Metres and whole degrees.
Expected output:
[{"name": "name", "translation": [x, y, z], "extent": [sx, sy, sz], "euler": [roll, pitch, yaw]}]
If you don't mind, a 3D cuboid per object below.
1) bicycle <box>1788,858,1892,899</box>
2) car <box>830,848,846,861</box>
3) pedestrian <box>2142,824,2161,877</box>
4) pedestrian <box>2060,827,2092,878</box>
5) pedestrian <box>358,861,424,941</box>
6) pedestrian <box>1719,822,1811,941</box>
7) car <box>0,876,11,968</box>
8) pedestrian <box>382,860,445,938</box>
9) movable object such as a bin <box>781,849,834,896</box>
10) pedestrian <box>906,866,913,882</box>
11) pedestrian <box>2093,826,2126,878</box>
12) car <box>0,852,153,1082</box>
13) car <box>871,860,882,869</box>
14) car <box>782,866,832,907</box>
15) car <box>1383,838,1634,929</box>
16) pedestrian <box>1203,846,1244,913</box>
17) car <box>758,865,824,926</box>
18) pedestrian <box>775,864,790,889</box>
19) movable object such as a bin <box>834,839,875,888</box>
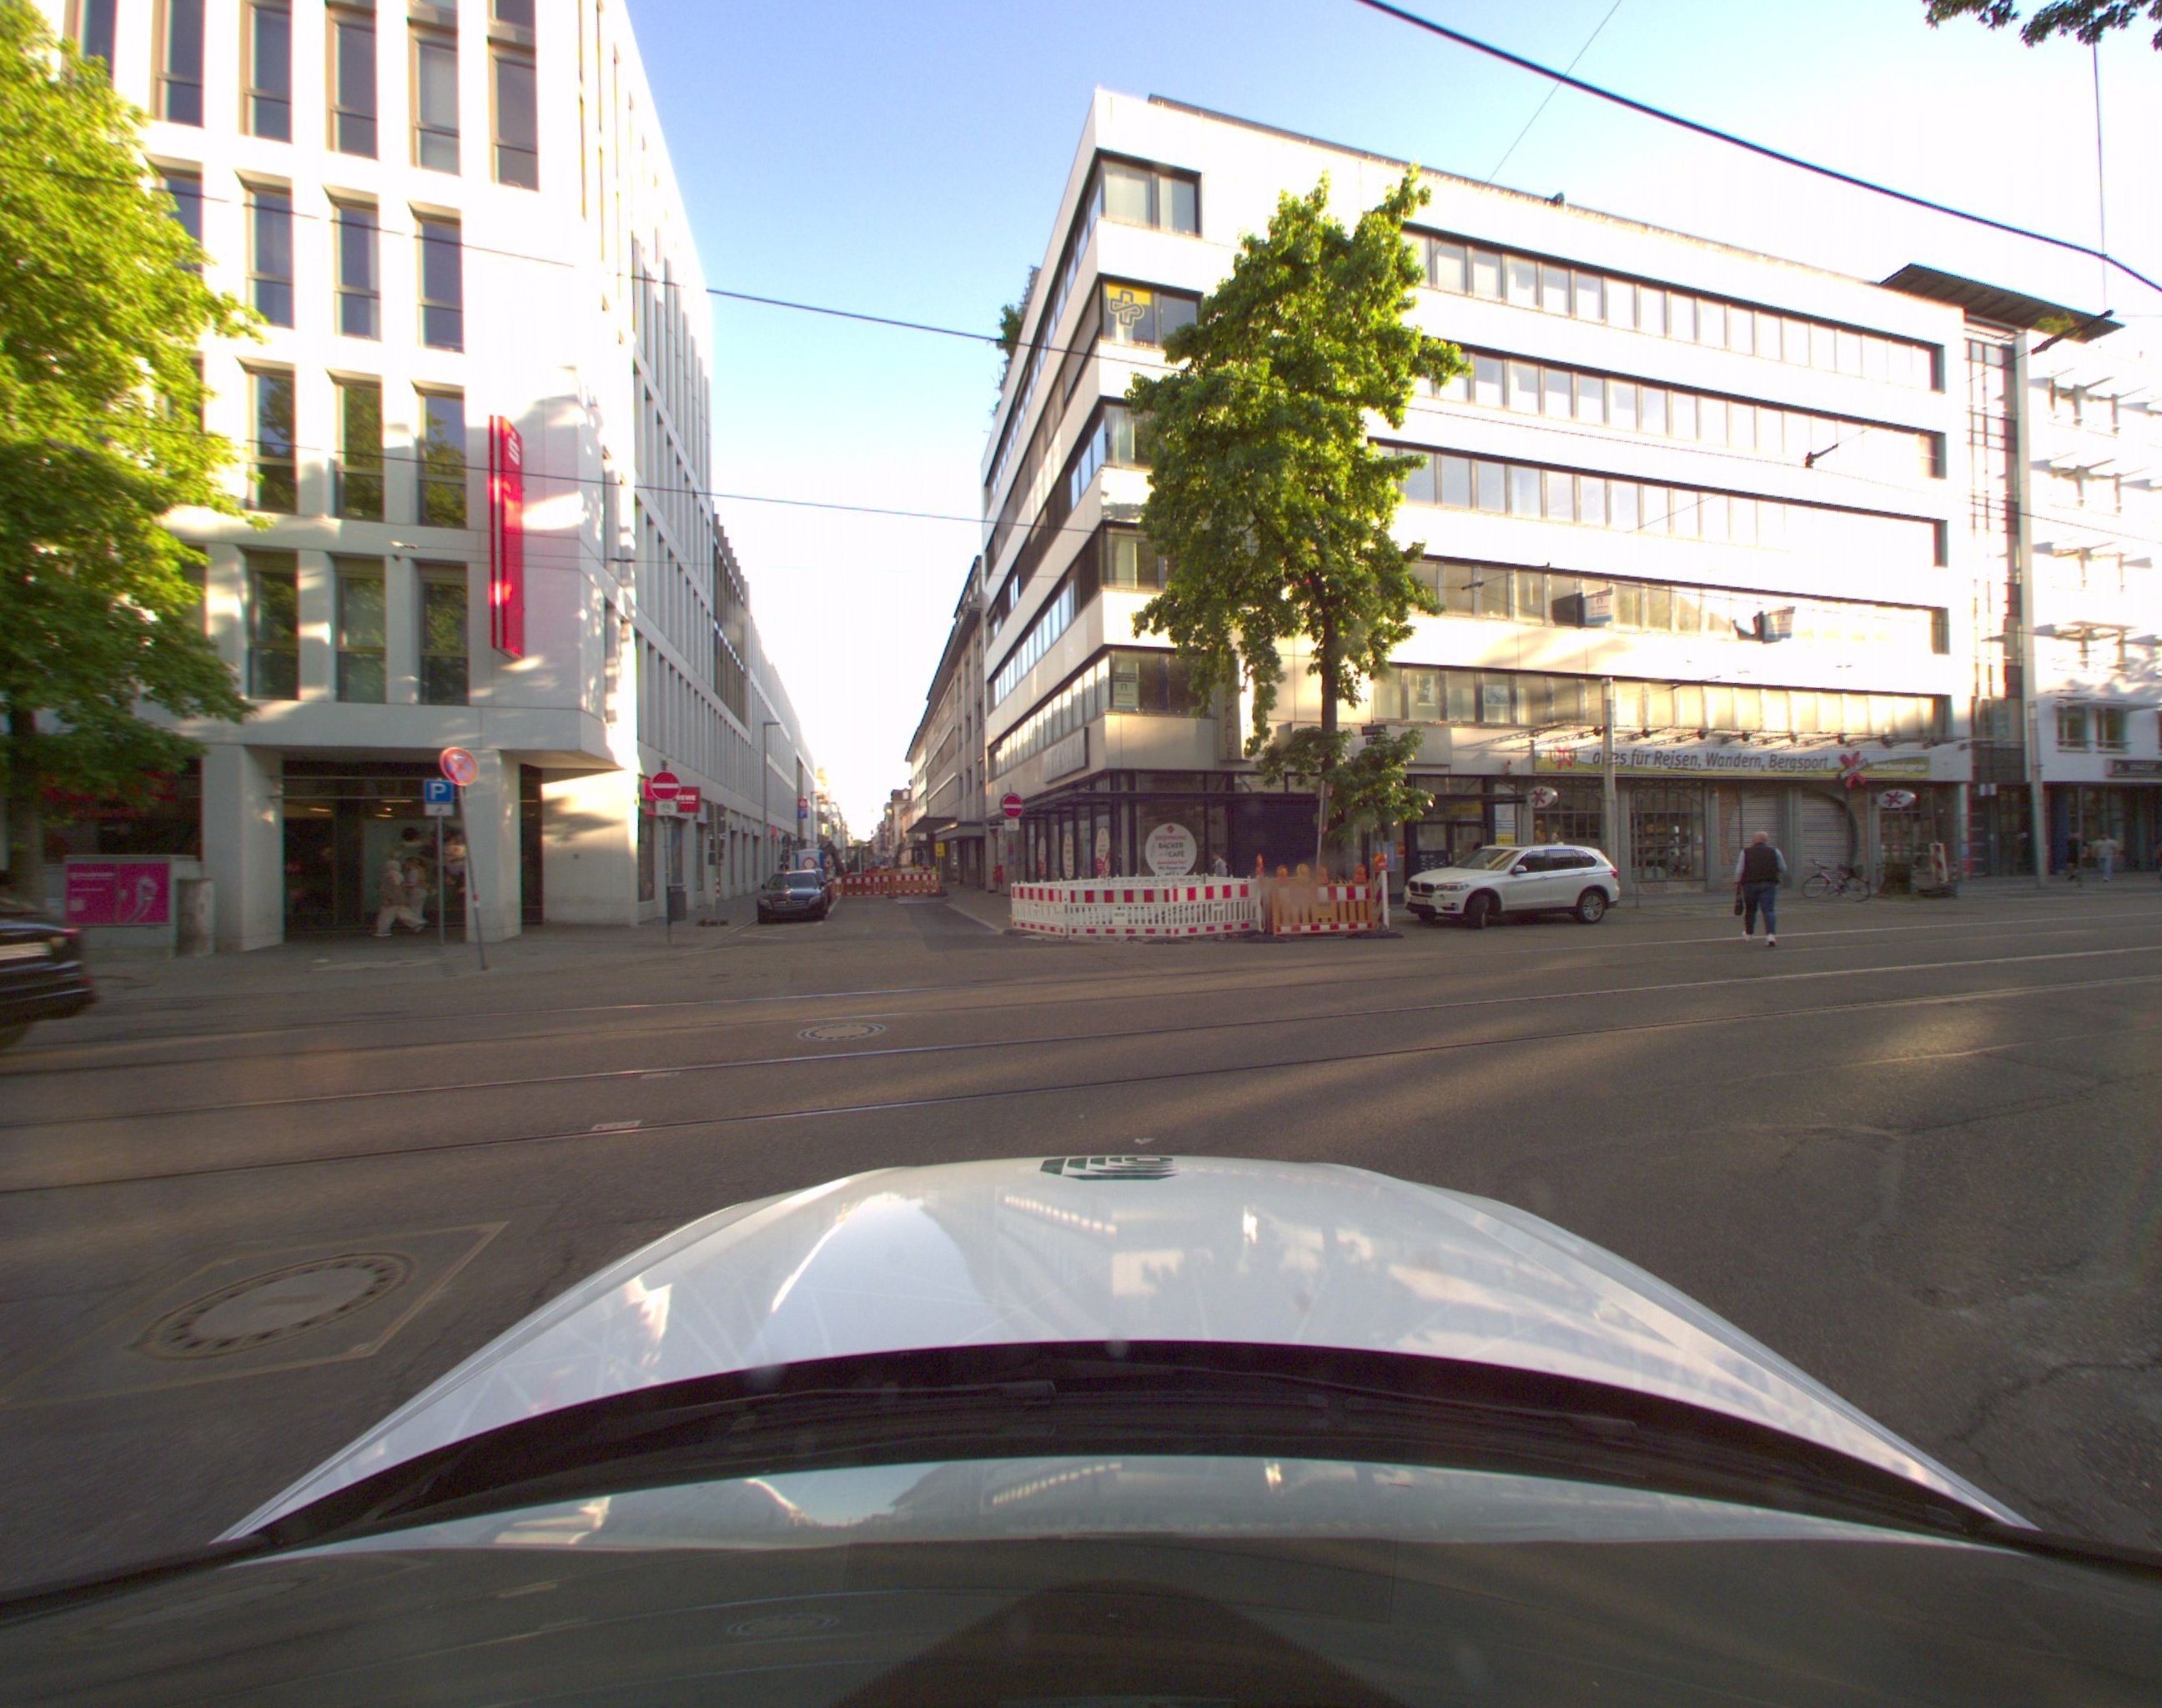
[{"name": "bicycle", "translation": [20.656, 0.654, 22.220], "extent": [0.669, 0.952, 2.016], "euler": [-2, 3, -17]}, {"name": "car", "translation": [-34.095, 0.072, 114.469], "extent": [1.997, 1.776, 3.980], "euler": [-2, 0, -15]}, {"name": "pedestrian", "translation": [37.010, -0.119, 27.625], "extent": [0.967, 1.776, 0.804], "euler": [-2, 0, -3]}, {"name": "pedestrian", "translation": [35.642, -0.065, 29.172], "extent": [0.819, 1.776, 0.622], "euler": [-2, 0, -33]}, {"name": "pedestrian", "translation": [-14.451, 0.967, 17.079], "extent": [0.872, 1.627, 0.608], "euler": [-1, -1, -17]}, {"name": "pedestrian", "translation": [10.650, 0.413, 12.724], "extent": [0.795, 1.776, 1.079], "euler": [-2, 0, 25]}, {"name": "car", "translation": [-17.645, 1.208, 11.695], "extent": [1.962, 1.505, 3.950], "euler": [-4, 4, -42]}, {"name": "pedestrian", "translation": [-14.521, 0.963, 17.743], "extent": [0.872, 1.627, 0.608], "euler": [-1, -1, -17]}, {"name": "movable object such as a bin", "translation": [-12.846, 0.836, 38.419], "extent": [1.997, 2.013, 3.980], "euler": [-2, 0, -14]}, {"name": "pedestrian", "translation": [-15.801, 1.821, 75.180], "extent": [0.523, 1.464, 0.716], "euler": [-1, 0, -7]}, {"name": "pedestrian", "translation": [36.046, -0.080, 28.539], "extent": [0.819, 1.776, 0.622], "euler": [-2, 0, -33]}, {"name": "car", "translation": [-10.610, 0.899, 5.801], "extent": [4.939, 1.726, 2.011], "euler": [-1, -1, -16]}, {"name": "car", "translation": [-39.897, 2.059, 158.685], "extent": [1.997, 1.776, 3.980], "euler": [-2, 0, -15]}, {"name": "car", "translation": [-11.063, 1.266, 32.949], "extent": [1.795, 1.451, 3.123], "euler": [-2, 0, -18]}, {"name": "car", "translation": [9.485, 0.564, 18.167], "extent": [4.939, 1.775, 2.012], "euler": [-1, 2, -16]}, {"name": "pedestrian", "translation": [3.369, 0.595, 19.302], "extent": [0.707, 1.549, 0.575], "euler": [-2, 0, -18]}, {"name": "car", "translation": [-8.329, 1.137, 23.525], "extent": [1.634, 1.550, 3.123], "euler": [-2, 0, -18]}, {"name": "pedestrian", "translation": [-18.234, 1.349, 49.747], "extent": [0.717, 1.464, 0.523], "euler": [-2, 0, -13]}, {"name": "movable object such as a bin", "translation": [-13.314, 0.555, 47.988], "extent": [2.160, 2.664, 4.549], "euler": [-1, 0, -15]}]
